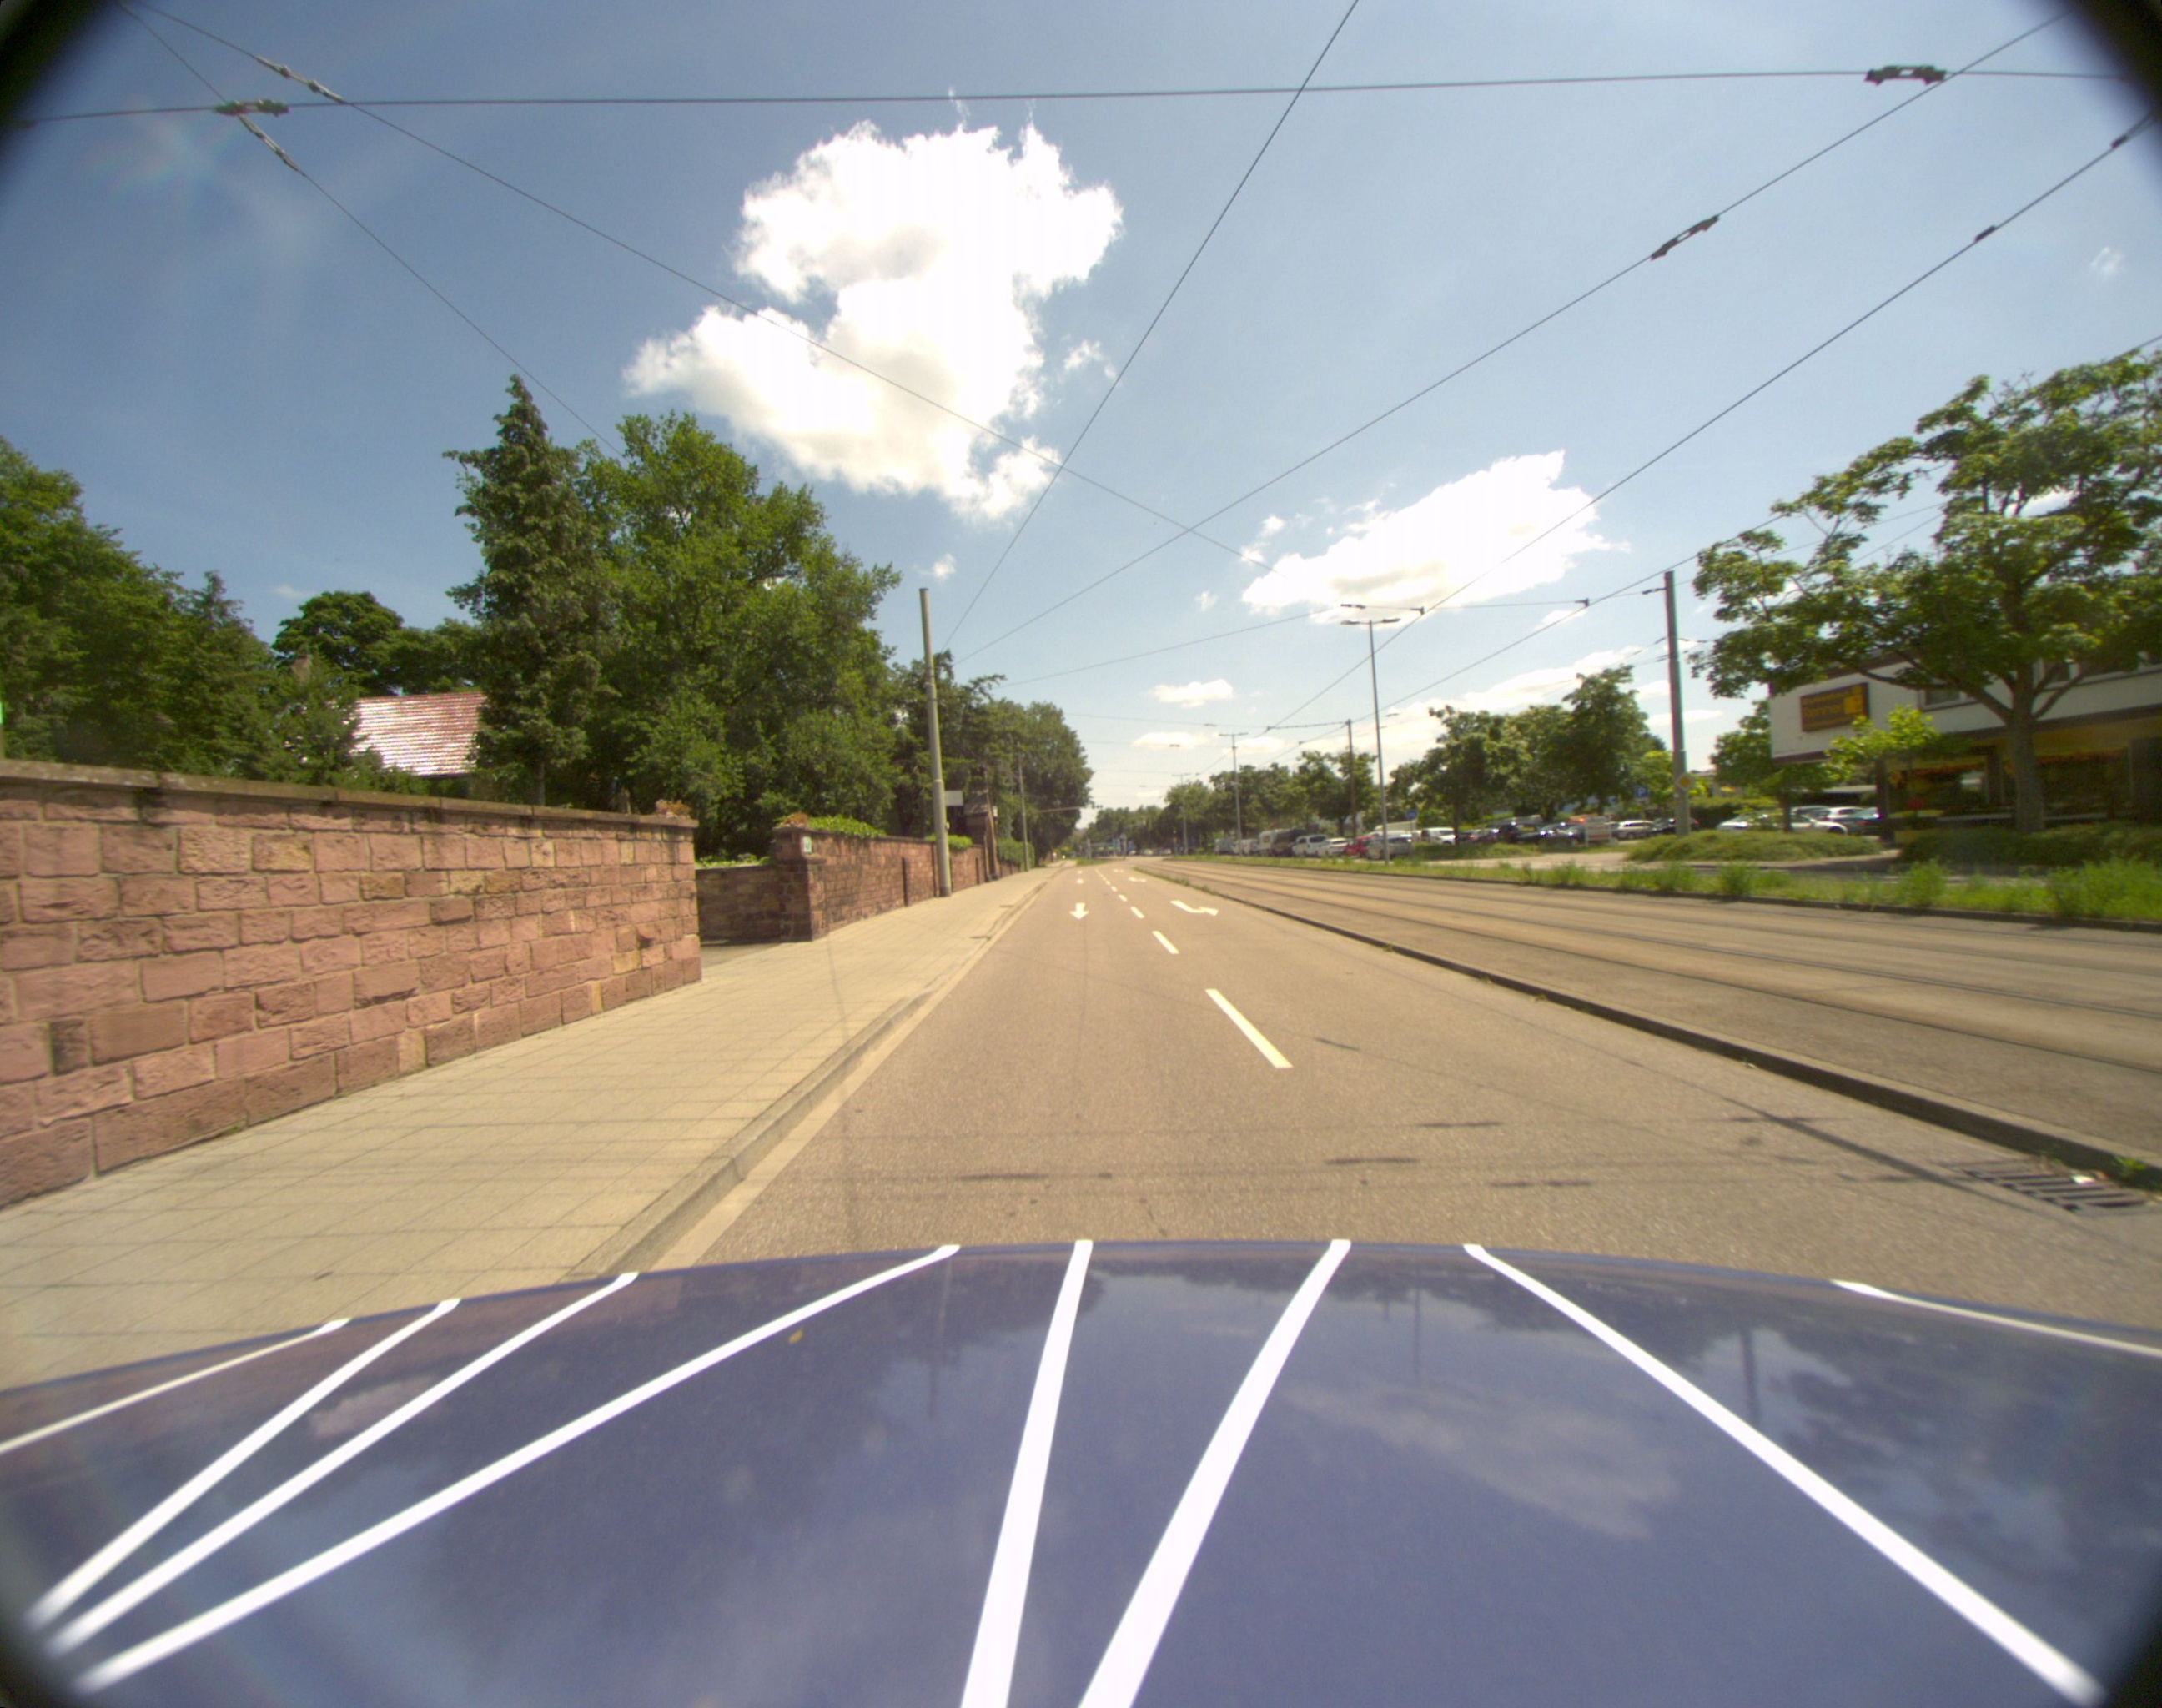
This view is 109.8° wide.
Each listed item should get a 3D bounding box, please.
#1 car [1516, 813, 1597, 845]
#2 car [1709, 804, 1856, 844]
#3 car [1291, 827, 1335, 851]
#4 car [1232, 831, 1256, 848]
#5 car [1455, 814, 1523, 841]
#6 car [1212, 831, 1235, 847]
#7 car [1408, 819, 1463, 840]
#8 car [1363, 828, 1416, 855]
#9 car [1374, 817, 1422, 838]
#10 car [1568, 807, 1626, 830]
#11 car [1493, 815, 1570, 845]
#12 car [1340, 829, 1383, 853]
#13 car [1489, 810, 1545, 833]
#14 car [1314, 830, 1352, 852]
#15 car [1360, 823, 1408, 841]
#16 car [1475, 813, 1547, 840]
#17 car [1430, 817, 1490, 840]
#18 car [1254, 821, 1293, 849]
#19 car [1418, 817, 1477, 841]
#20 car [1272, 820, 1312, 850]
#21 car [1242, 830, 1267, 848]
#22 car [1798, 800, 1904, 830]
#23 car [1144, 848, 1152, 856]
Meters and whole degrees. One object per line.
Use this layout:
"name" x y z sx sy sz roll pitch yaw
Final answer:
"car" 30.368 -1.577 48.630 3.997 1.726 1.803 -4 1 1
"car" 30.522 -1.287 33.175 4.484 1.426 1.907 -3 1 3
"car" 20.085 -1.281 66.055 2.156 1.827 4.887 -6 1 0
"car" 20.488 -1.843 95.603 1.795 1.928 4.487 -6 1 -2
"car" 30.179 -1.969 56.249 3.997 1.726 1.803 -4 1 1
"car" 20.214 -2.100 107.789 2.071 2.089 4.487 -6 1 -2
"car" 31.396 -2.173 67.364 3.997 1.726 1.803 -2 2 1
"car" 20.000 -0.822 49.511 1.580 1.531 4.550 -6 1 1
"car" 44.411 -3.719 106.479 5.698 2.467 2.259 -4 1 -3
"car" 43.453 -2.999 64.064 3.745 1.726 1.760 -2 2 -3
"car" 30.406 -1.589 51.392 3.997 1.726 1.879 -4 1 1
"car" 20.163 -0.911 54.751 1.503 1.531 3.648 -6 1 -3
"car" 44.230 -3.285 77.172 4.652 2.212 1.851 -2 2 -3
"car" 19.652 -1.029 59.442 1.503 1.531 4.358 -6 1 1
"car" 31.322 -2.262 78.545 4.199 1.726 1.803 -2 2 1
"car" 30.370 -1.899 53.723 3.997 1.726 1.803 -2 2 1
"car" 30.840 -2.071 61.947 3.997 1.726 1.803 -2 2 1
"car" 20.244 -1.971 80.186 2.156 2.597 6.702 -6 1 -1
"car" 31.065 -2.133 64.462 3.997 1.726 1.902 -4 1 1
"car" 19.907 -1.773 71.948 2.156 2.597 5.032 -6 1 0
"car" 20.284 -1.784 88.902 1.794 1.928 4.648 -6 1 0
"car" 43.916 -2.231 43.413 3.996 1.394 1.906 -4 1 3
"car" 15.597 -0.388 175.933 1.681 1.680 3.546 -2 1 6
